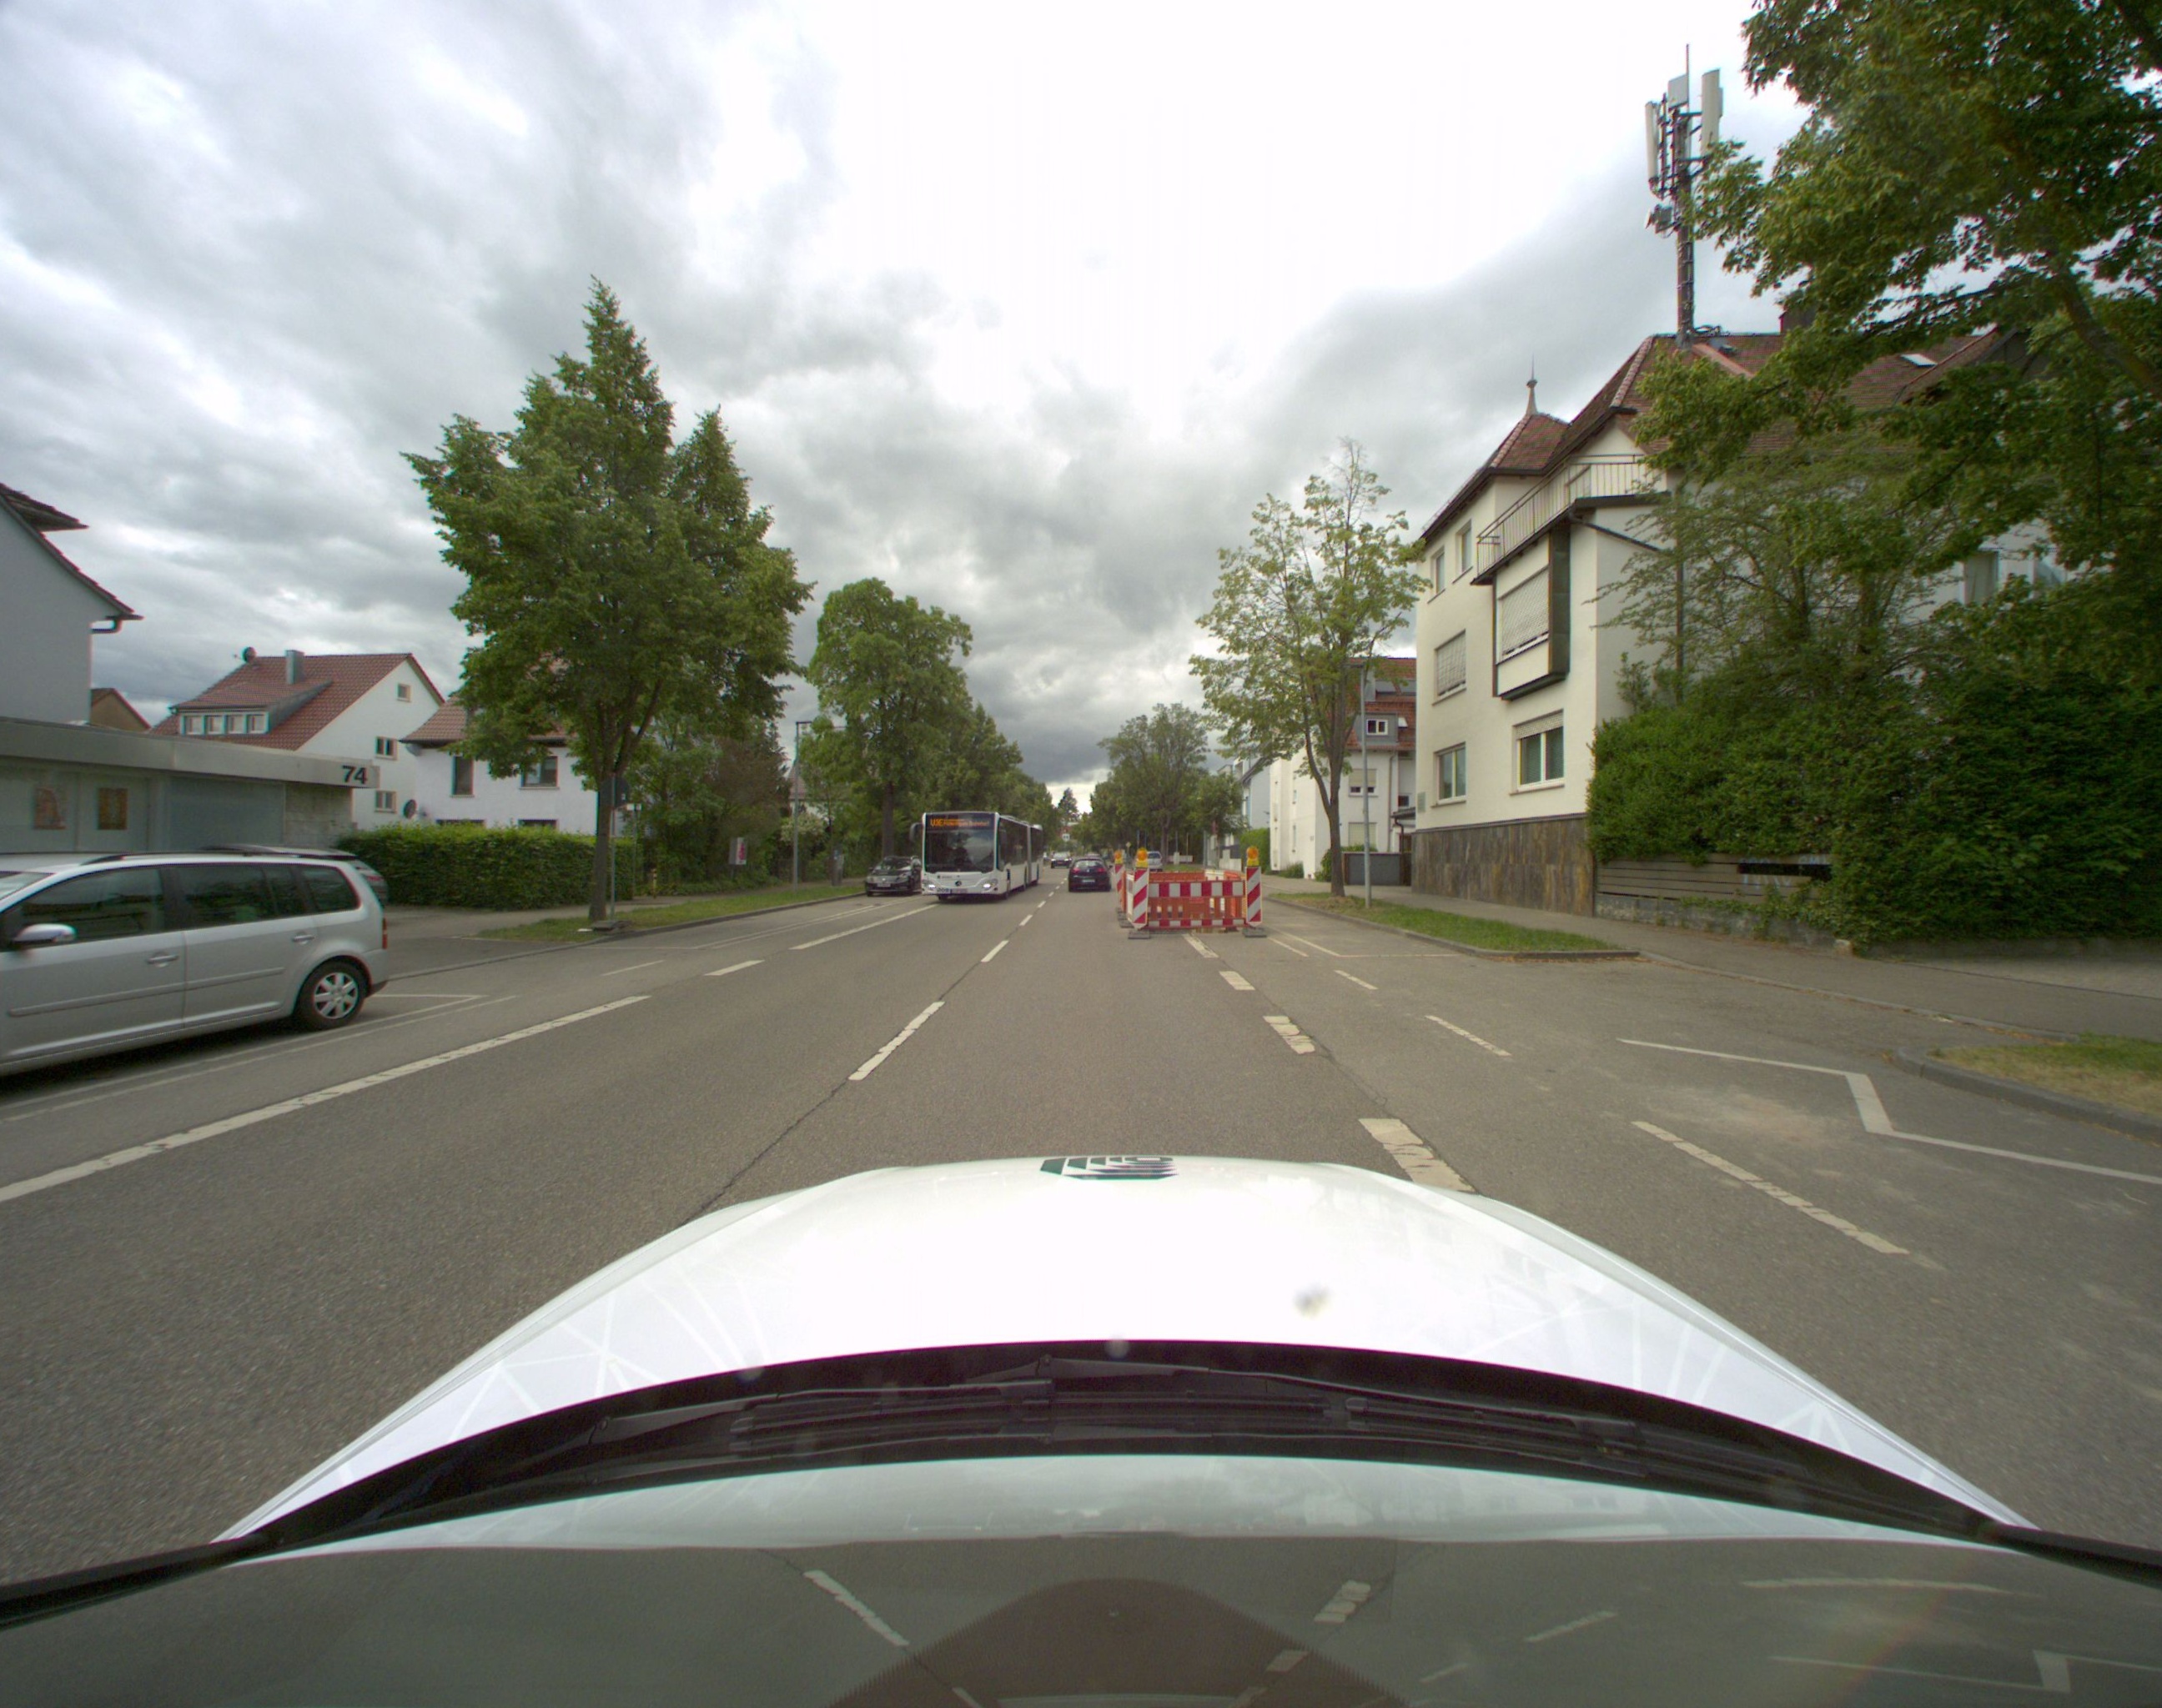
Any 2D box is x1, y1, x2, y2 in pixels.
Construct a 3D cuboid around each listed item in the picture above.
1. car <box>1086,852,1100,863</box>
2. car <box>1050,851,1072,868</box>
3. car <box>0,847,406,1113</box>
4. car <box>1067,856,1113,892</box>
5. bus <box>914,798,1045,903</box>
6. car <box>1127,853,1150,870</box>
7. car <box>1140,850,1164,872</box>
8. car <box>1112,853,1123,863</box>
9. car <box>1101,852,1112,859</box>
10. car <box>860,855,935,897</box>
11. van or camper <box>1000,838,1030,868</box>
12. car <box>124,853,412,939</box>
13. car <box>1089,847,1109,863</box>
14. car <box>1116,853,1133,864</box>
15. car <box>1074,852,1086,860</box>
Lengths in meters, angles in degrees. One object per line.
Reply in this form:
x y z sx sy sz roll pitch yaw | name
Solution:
1.728 0.465 117.995 1.988 1.530 3.998 -1 0 -1 | car
-2.100 0.606 85.469 1.986 1.667 4.591 -2 0 2 | car
-7.642 0.804 6.002 1.682 1.684 4.227 0 -1 2 | car
0.333 0.799 34.799 1.778 1.449 3.555 0 0 -2 | car
-3.602 -0.022 34.650 2.794 3.288 18.050 0 -1 2 | bus
4.991 0.638 71.034 1.682 1.493 4.226 -1 0 0 | car
5.684 0.534 65.325 1.627 1.665 3.648 -1 0 1 | car
5.811 0.639 129.249 1.632 1.420 4.002 -1 0 2 | car
5.113 0.362 164.252 1.680 1.432 4.037 0 0 -5 | car
-7.197 0.883 32.450 1.854 1.553 4.619 0 -2 1 | car
-6.797 -0.093 85.014 2.427 3.009 7.693 -1 0 1 | van or camper
-15.481 0.738 15.611 4.056 1.433 1.805 1 0 9 | car
1.854 0.115 82.949 1.986 1.558 4.002 0 0 2 | car
5.817 0.545 108.947 2.014 1.443 5.025 0 0 1 | car
-0.229 0.437 151.061 1.990 1.508 3.993 0 -1 -5 | car
